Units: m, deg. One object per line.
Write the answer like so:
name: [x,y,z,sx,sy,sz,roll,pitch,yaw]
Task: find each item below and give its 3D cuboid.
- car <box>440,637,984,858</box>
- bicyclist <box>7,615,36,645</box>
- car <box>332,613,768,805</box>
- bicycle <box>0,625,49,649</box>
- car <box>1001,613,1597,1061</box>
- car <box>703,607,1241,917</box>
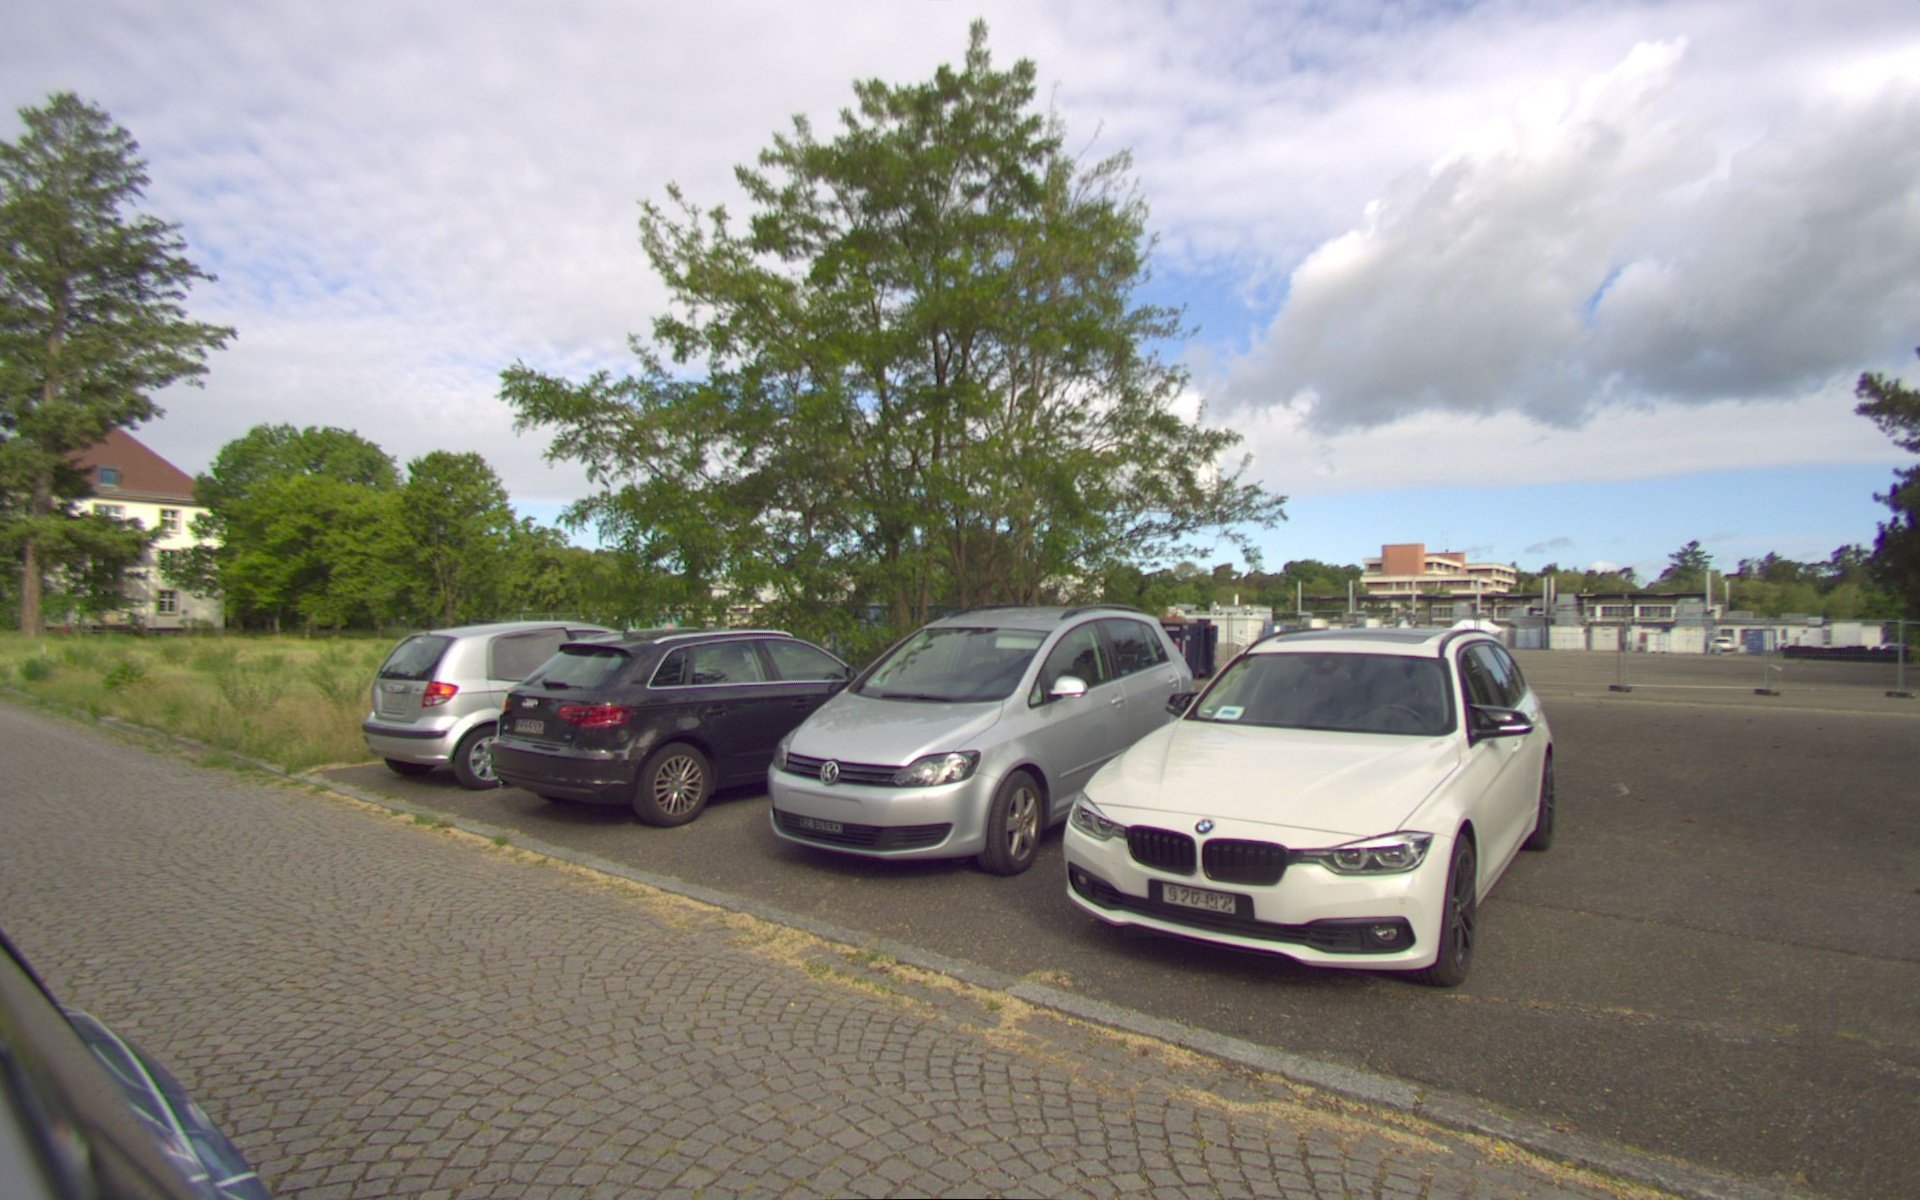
car: [-1.878,1.071,9.069,1.882,1.433,4.577,-1,-3,37]
bicyclist: [-60.137,1.939,64.858,1.300,1.882,1.250,3,-3,-45]
car: [-4.058,0.946,10.613,1.677,1.467,3.940,-1,1,35]
bicycle: [-60.186,2.375,64.780,1.273,1.516,2.637,-2,-3,45]
car: [2.389,0.856,5.986,1.910,1.450,4.761,-1,0,37]
car: [0.418,0.864,7.599,1.843,1.602,4.433,-1,-1,36]
